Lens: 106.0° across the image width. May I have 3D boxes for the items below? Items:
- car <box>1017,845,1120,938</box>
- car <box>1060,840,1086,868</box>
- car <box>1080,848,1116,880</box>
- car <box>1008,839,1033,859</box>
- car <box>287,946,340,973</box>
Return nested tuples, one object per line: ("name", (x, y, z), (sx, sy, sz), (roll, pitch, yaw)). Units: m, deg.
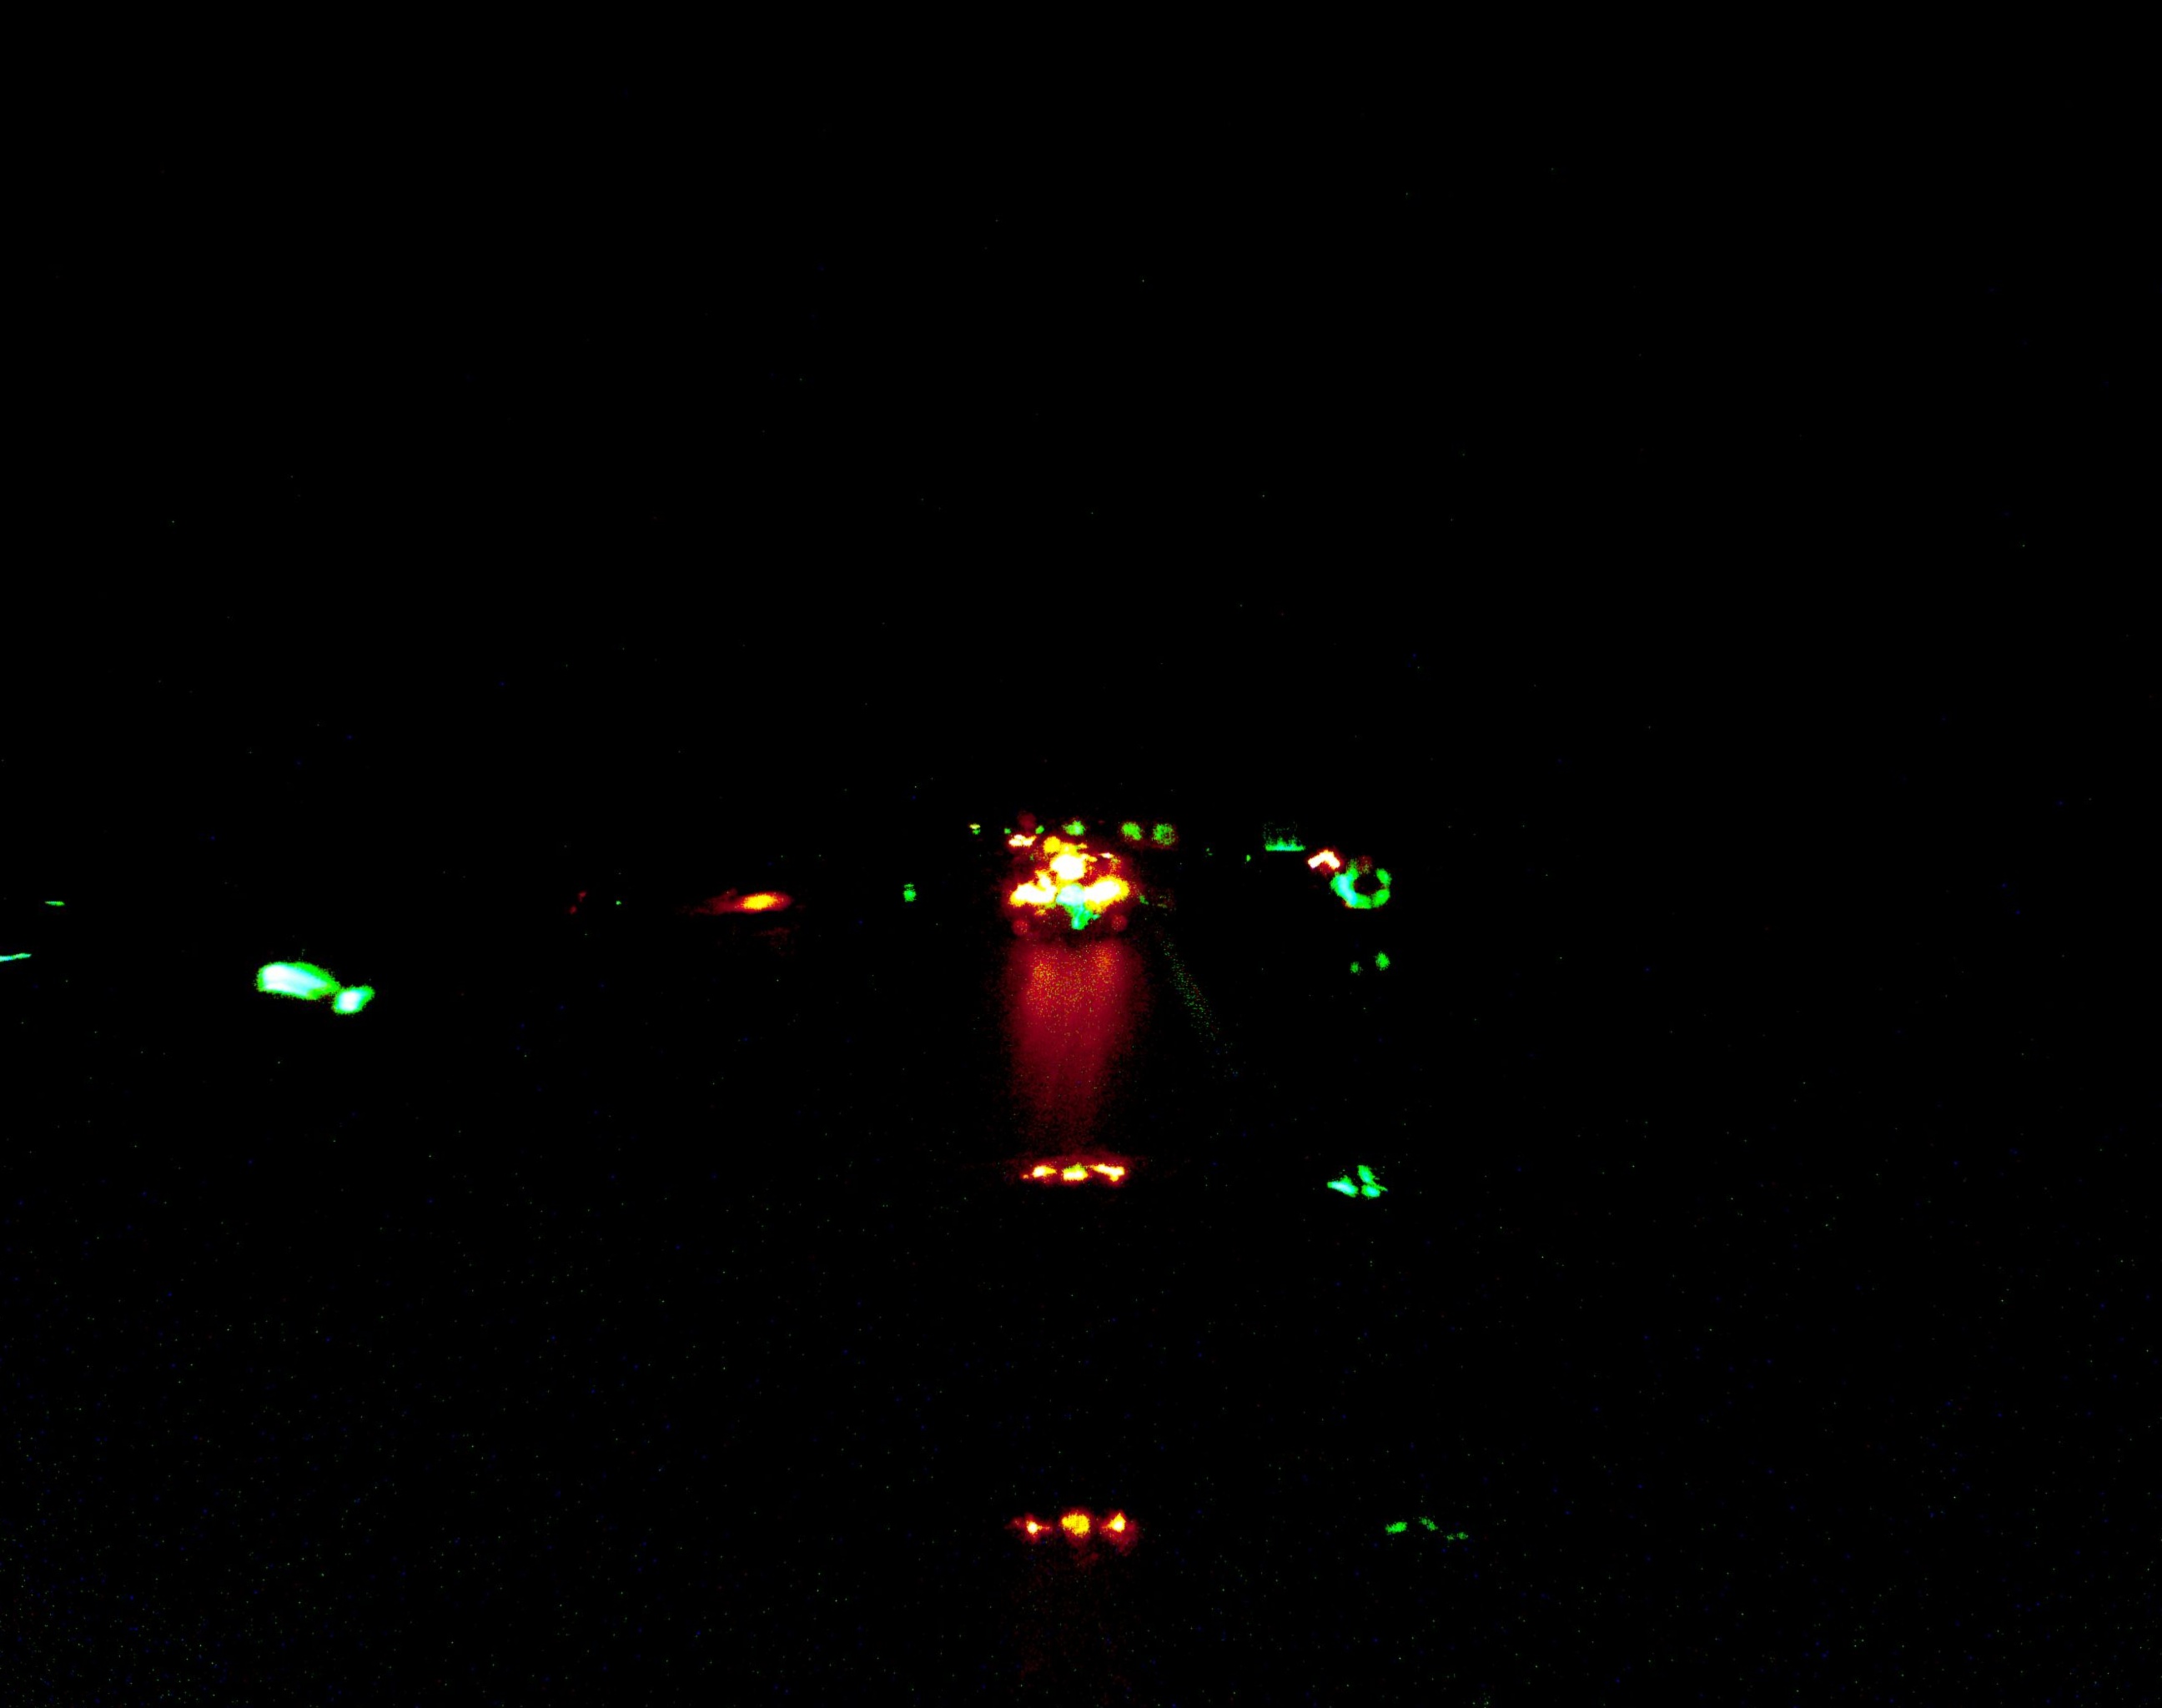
("car", (-0.207, 0.695, 17.113), (1.854, 1.647, 4.068), (-2, 0, 0))
("car", (-0.675, 0.003, 64.360), (1.891, 2.040, 4.041), (-1, 0, -3))
("car", (0.949, 0.569, 47.403), (1.890, 1.720, 4.043), (-1, -1, -1))
("car", (-6.309, -0.467, 84.113), (1.898, 1.998, 4.025), (-1, 0, -14))
("car", (-47.900, 6.549, 50.815), (4.046, 1.425, 1.757), (-4, -2, 37))
